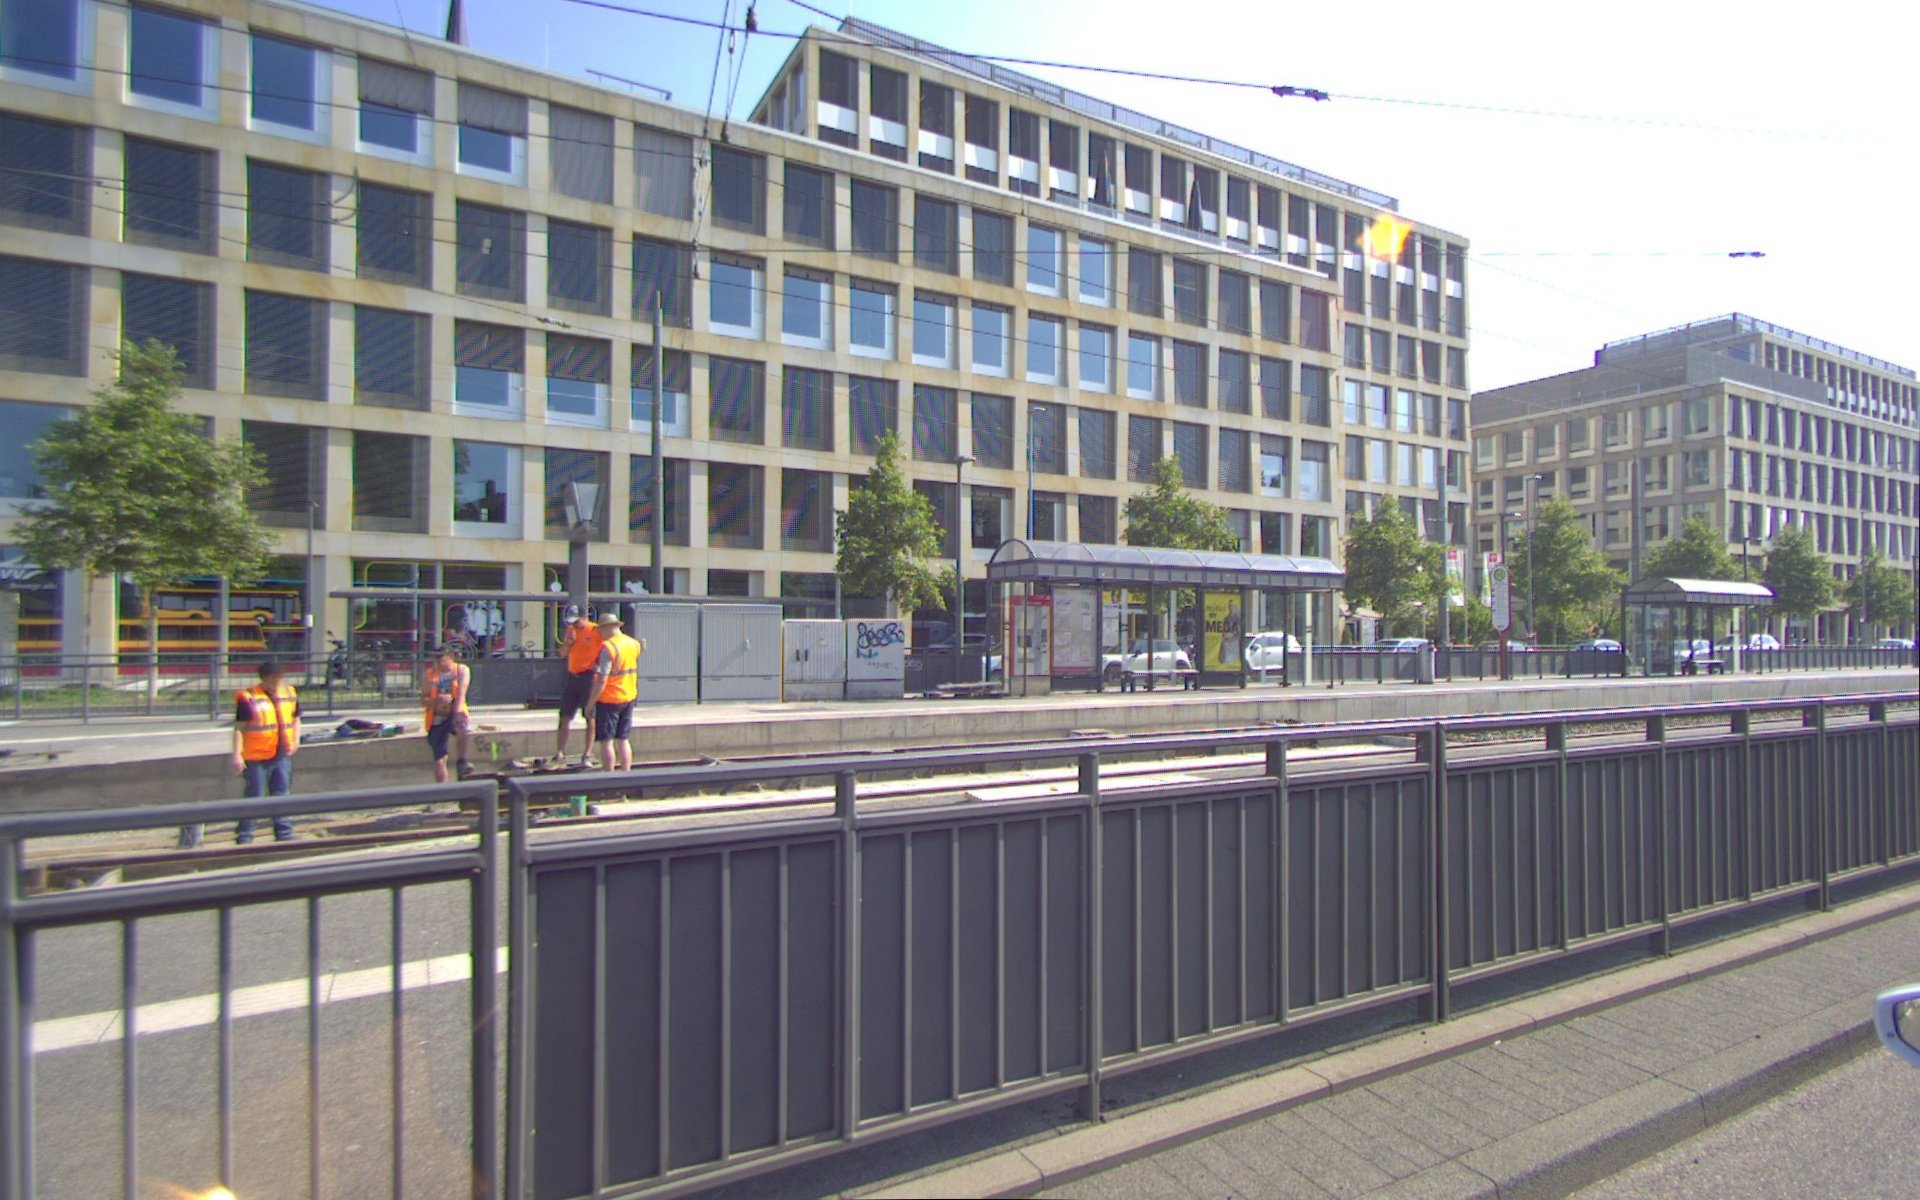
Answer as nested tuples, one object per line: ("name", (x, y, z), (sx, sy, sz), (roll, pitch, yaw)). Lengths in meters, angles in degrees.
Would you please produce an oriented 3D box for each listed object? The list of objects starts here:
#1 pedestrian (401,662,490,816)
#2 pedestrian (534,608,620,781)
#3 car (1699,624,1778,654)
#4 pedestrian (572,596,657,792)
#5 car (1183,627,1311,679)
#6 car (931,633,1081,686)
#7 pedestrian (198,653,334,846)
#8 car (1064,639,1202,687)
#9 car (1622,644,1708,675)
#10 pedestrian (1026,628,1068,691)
("pedestrian", (-5.558, 1.468, 10.860), (0.630, 1.575, 0.624), (-1, -2, 35))
("pedestrian", (-4.228, 1.016, 11.112), (0.615, 1.839, 0.640), (-1, -2, 29))
("car", (39.493, 1.978, 50.922), (4.319, 1.426, 1.676), (1, -2, -31))
("pedestrian", (-3.618, 0.959, 10.577), (0.775, 1.976, 0.723), (0, -2, -15))
("car", (9.698, 1.758, 33.887), (4.272, 1.647, 1.780), (1, -2, -32))
("car", (1.339, 1.672, 28.959), (3.953, 1.422, 1.893), (1, -2, -30))
("pedestrian", (-6.356, 1.340, 9.228), (0.756, 1.685, 0.669), (0, -2, 4))
("car", (5.386, 1.915, 31.221), (3.953, 1.422, 1.893), (1, -2, -30))
("car", (33.553, 2.808, 47.782), (4.322, 1.426, 1.676), (1, -2, -31))
("pedestrian", (2.388, 1.633, 27.616), (0.869, 1.698, 0.833), (1, -2, -29))
